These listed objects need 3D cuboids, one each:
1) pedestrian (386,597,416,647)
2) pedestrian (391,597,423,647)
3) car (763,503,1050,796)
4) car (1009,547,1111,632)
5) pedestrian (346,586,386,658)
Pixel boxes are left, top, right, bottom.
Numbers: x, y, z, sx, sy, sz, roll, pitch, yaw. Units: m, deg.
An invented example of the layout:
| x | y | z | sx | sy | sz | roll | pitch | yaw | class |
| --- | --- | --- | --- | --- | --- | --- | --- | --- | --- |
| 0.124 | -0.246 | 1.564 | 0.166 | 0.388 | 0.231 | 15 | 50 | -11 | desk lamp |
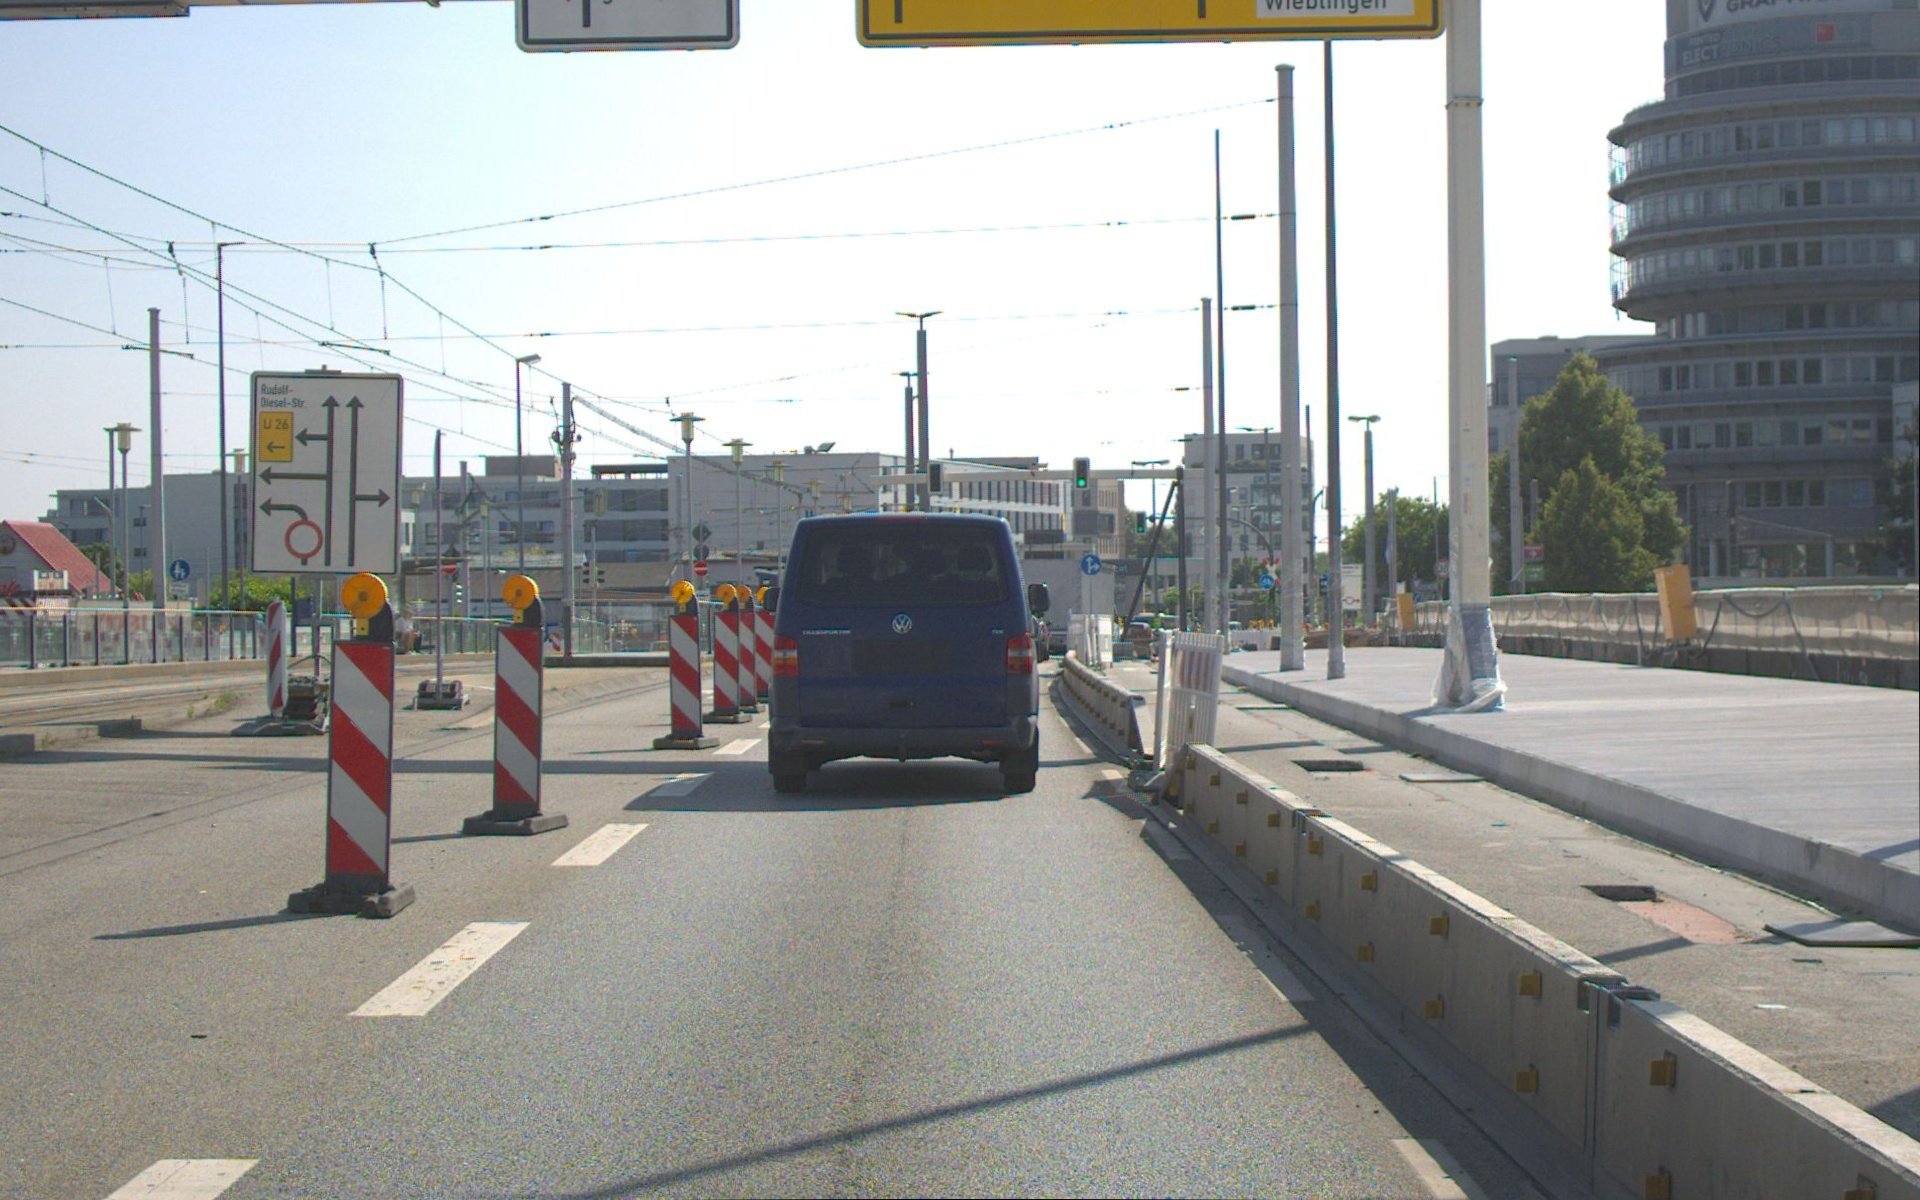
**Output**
| x | y | z | sx | sy | sz | roll | pitch | yaw | class |
| --- | --- | --- | --- | --- | --- | --- | --- | --- | --- |
| -14.179 | 0.561 | 87.224 | 0.648 | 1.269 | 0.453 | 0 | 0 | 5 | pedestrian |
| -14.122 | 0.557 | 87.808 | 0.648 | 1.269 | 0.697 | 0 | 0 | 5 | pedestrian |
| -0.406 | 0.313 | 25.025 | 1.888 | 1.927 | 4.000 | 1 | 1 | -1 | car |
| 3.567 | -0.388 | 121.123 | 2.340 | 2.877 | 5.966 | 1 | 1 | 14 | car |
| -13.859 | 0.509 | 80.238 | 0.660 | 1.649 | 0.739 | -1 | 0 | 13 | pedestrian |
